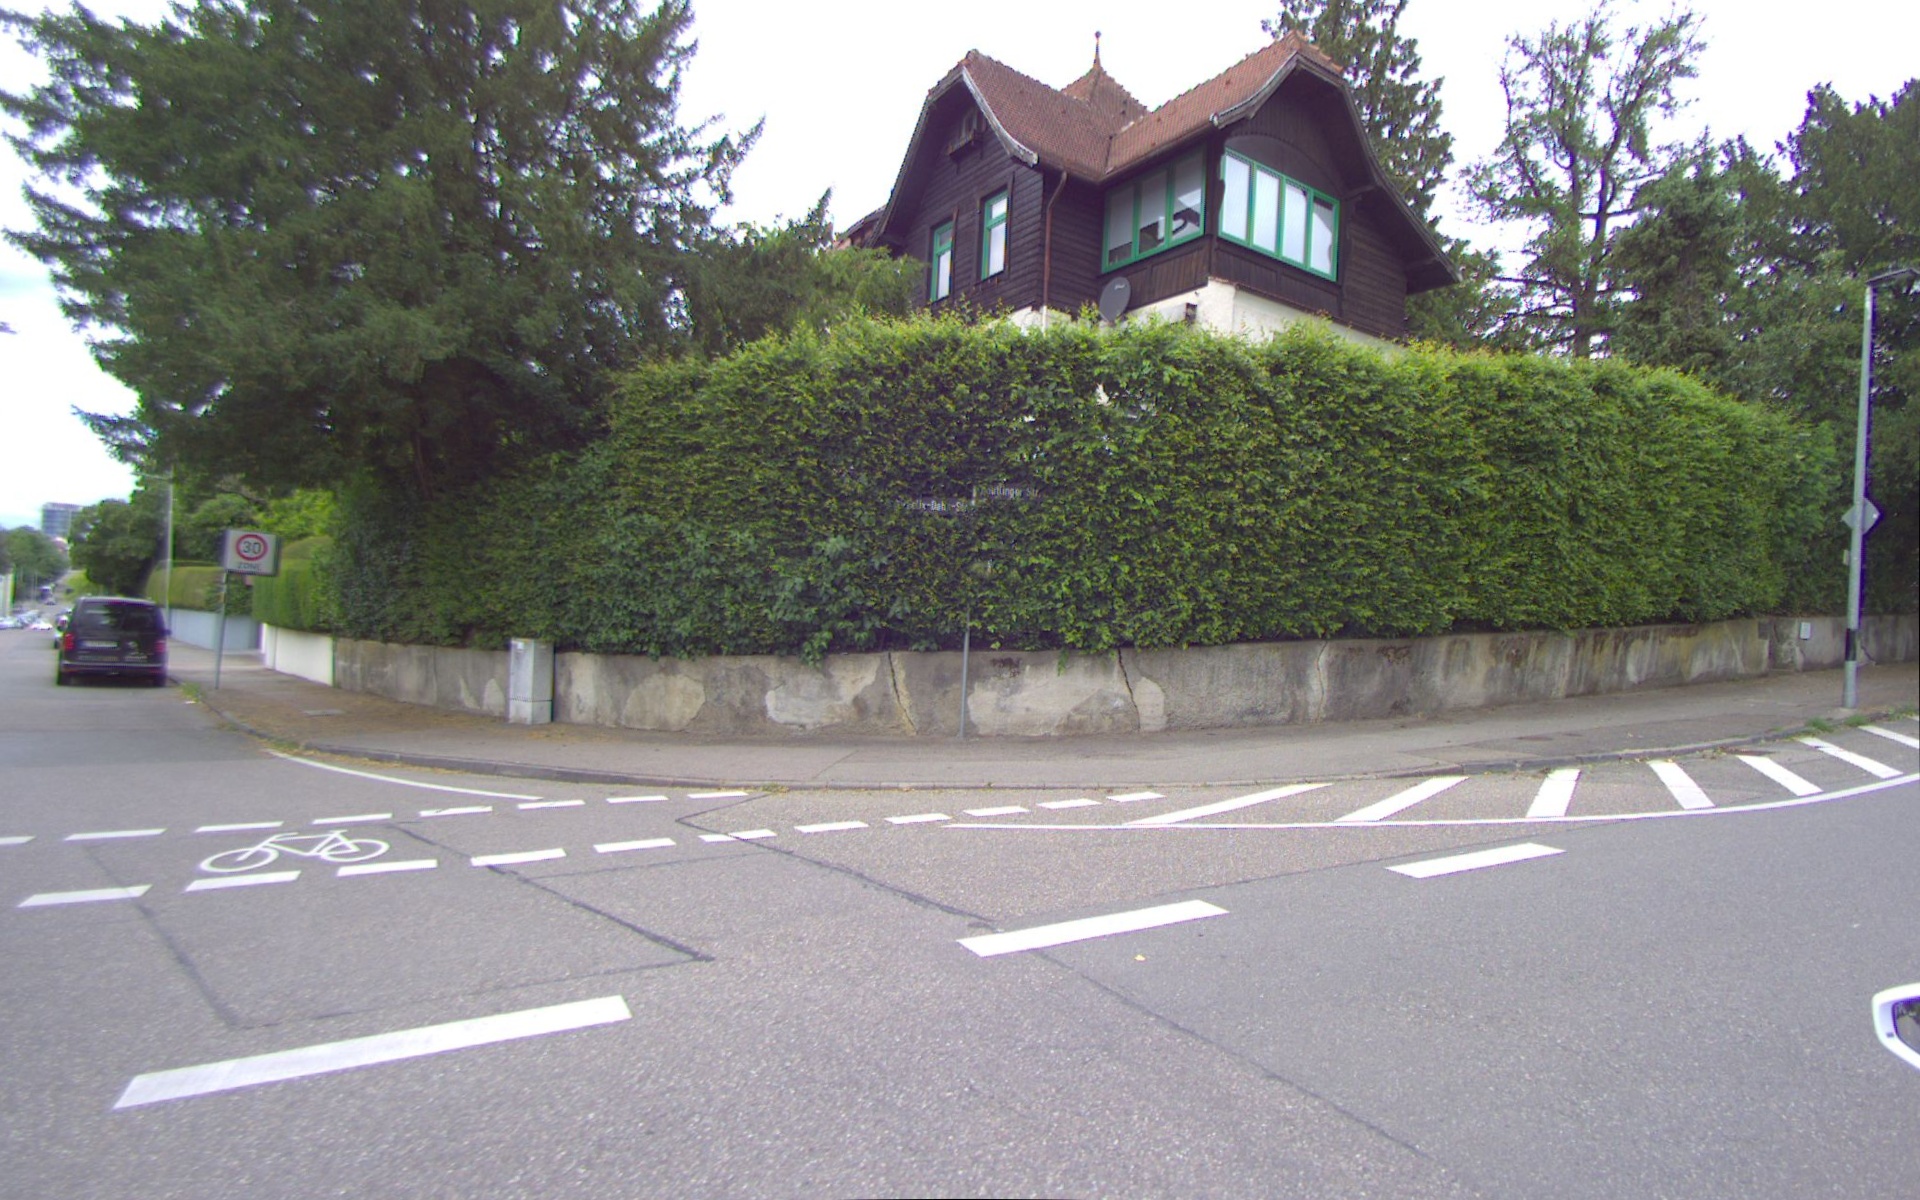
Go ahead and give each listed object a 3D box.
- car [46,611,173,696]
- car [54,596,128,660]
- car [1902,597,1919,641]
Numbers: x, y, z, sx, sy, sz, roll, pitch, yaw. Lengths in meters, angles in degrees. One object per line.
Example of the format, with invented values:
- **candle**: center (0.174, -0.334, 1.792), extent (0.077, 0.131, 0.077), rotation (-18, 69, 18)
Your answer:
- **car**: center (-18.411, 1.075, 21.684), extent (1.814, 1.646, 4.028), rotation (0, -1, -44)
- **car**: center (-31.855, 0.953, 36.918), extent (1.874, 2.041, 3.954), rotation (-1, 3, -39)
- **car**: center (31.721, 0.603, 30.871), extent (1.724, 1.372, 3.769), rotation (0, 1, -35)
